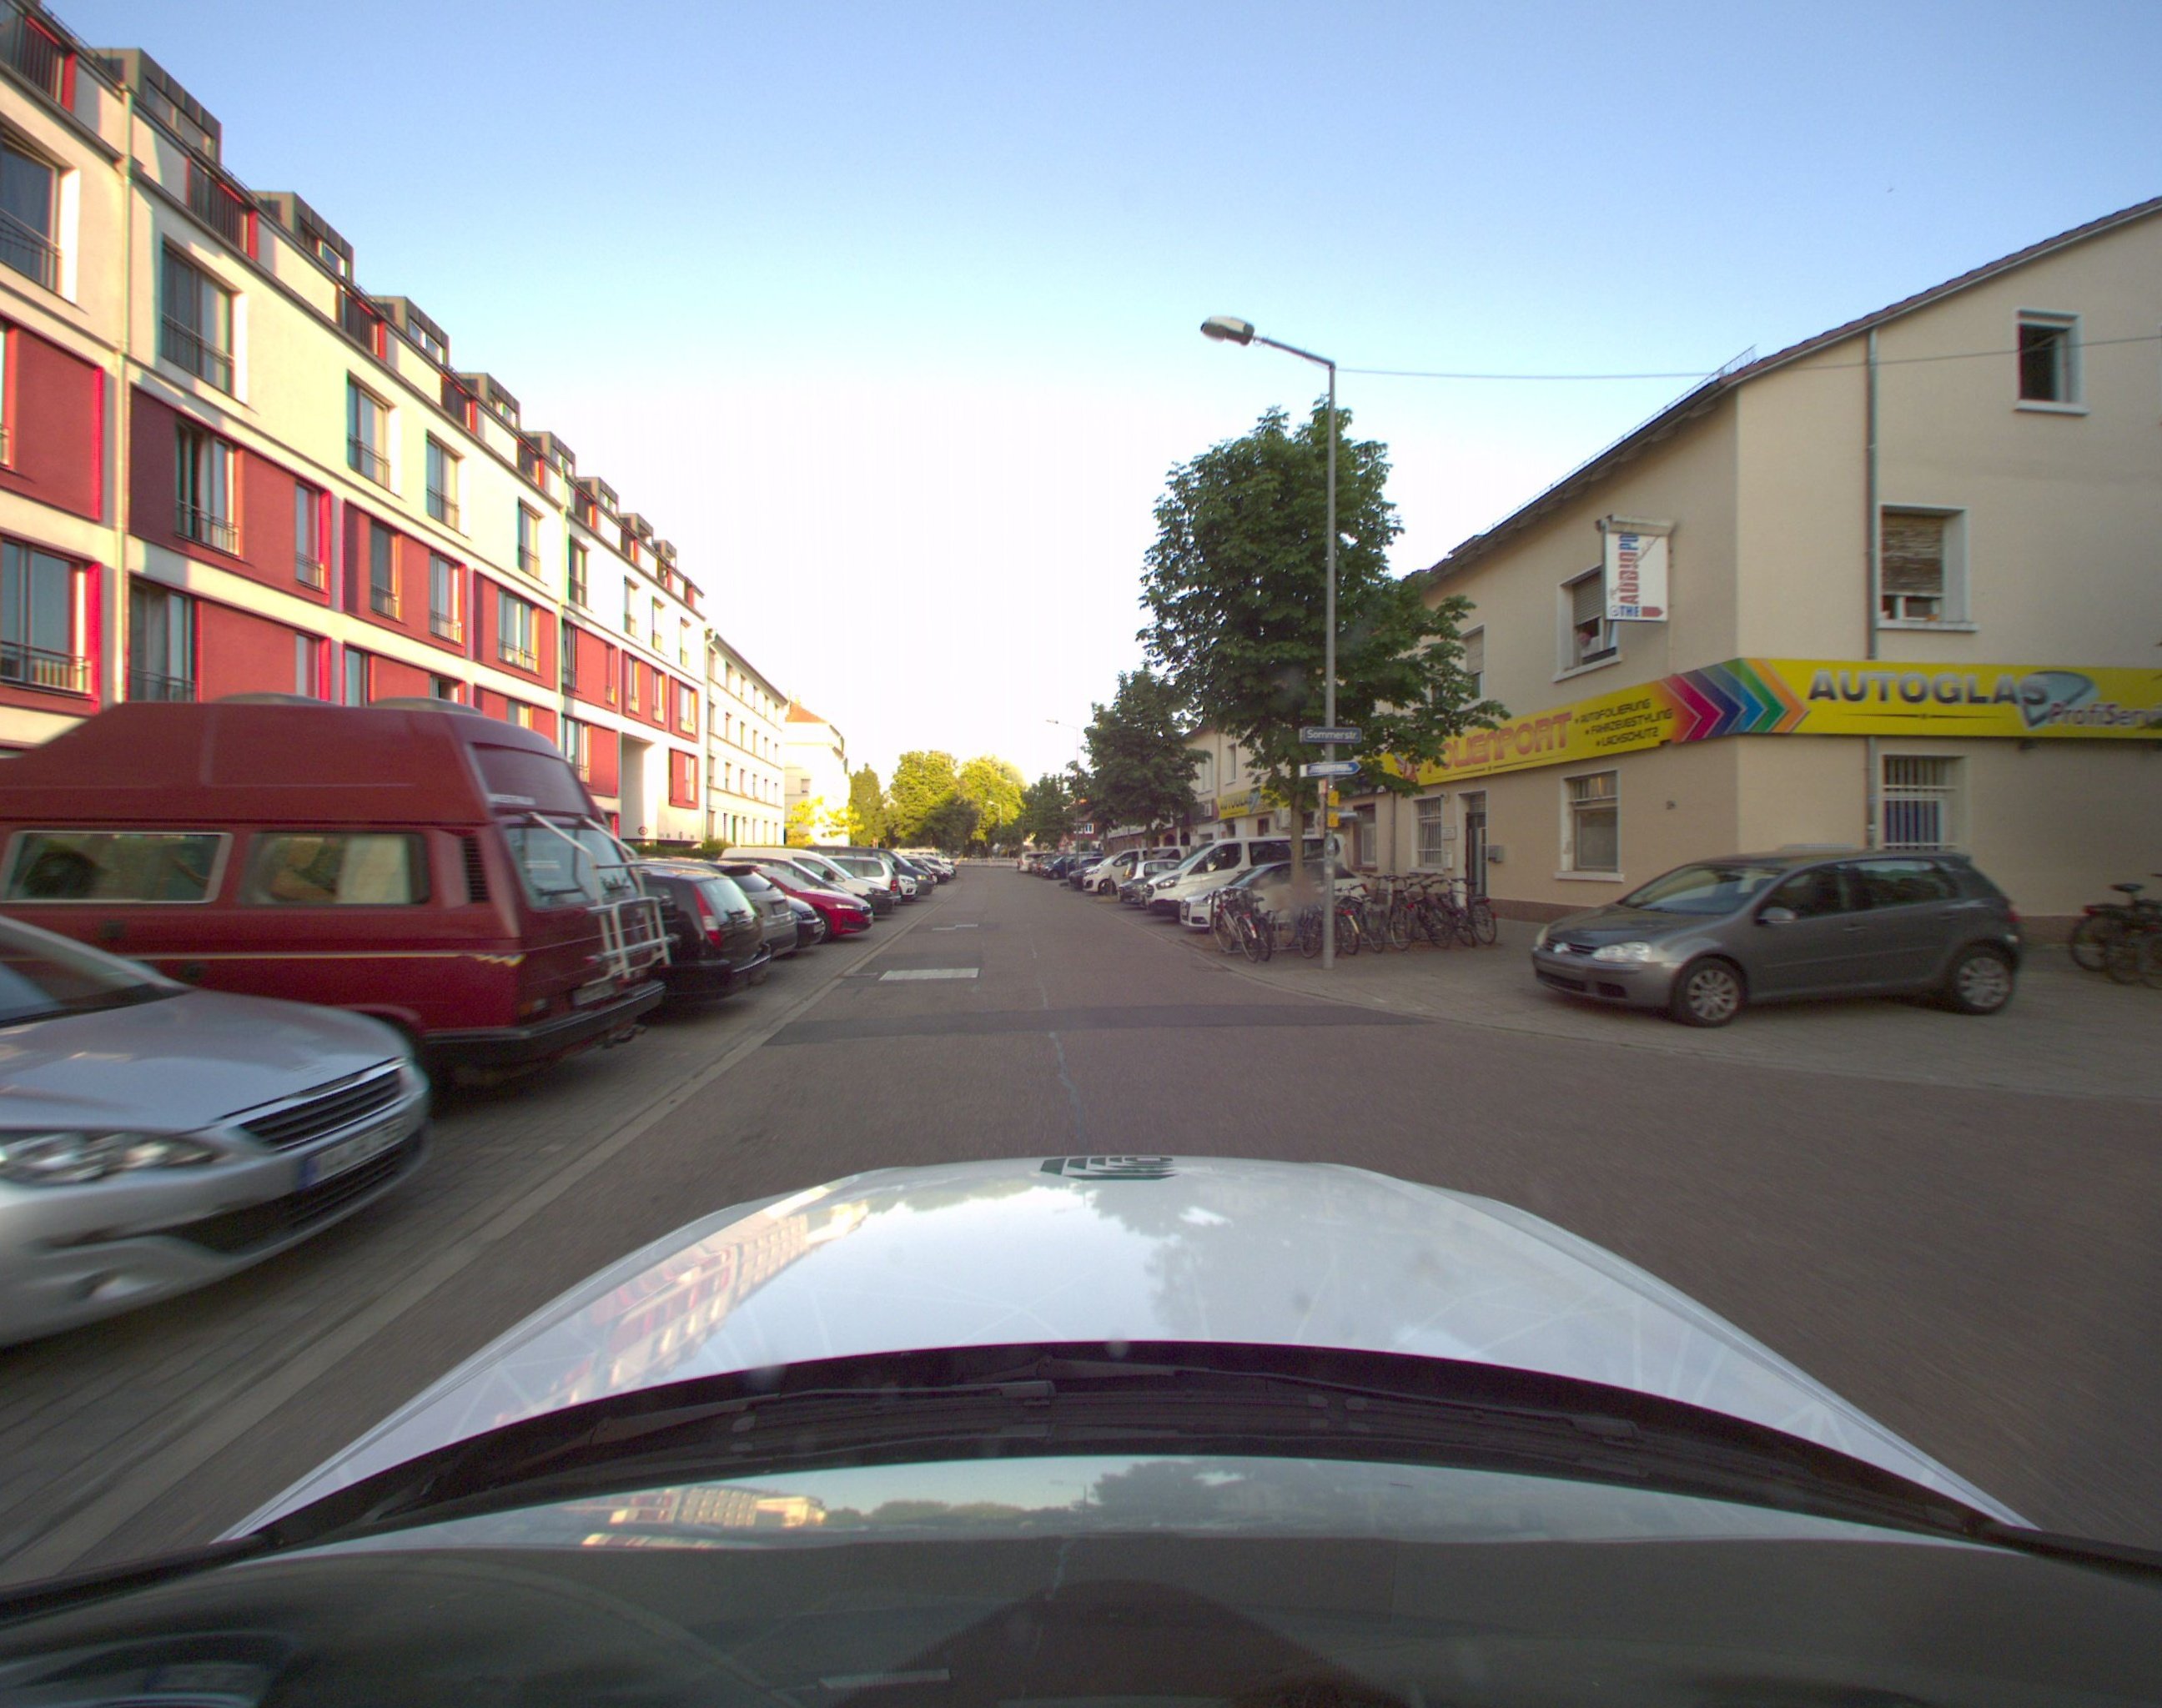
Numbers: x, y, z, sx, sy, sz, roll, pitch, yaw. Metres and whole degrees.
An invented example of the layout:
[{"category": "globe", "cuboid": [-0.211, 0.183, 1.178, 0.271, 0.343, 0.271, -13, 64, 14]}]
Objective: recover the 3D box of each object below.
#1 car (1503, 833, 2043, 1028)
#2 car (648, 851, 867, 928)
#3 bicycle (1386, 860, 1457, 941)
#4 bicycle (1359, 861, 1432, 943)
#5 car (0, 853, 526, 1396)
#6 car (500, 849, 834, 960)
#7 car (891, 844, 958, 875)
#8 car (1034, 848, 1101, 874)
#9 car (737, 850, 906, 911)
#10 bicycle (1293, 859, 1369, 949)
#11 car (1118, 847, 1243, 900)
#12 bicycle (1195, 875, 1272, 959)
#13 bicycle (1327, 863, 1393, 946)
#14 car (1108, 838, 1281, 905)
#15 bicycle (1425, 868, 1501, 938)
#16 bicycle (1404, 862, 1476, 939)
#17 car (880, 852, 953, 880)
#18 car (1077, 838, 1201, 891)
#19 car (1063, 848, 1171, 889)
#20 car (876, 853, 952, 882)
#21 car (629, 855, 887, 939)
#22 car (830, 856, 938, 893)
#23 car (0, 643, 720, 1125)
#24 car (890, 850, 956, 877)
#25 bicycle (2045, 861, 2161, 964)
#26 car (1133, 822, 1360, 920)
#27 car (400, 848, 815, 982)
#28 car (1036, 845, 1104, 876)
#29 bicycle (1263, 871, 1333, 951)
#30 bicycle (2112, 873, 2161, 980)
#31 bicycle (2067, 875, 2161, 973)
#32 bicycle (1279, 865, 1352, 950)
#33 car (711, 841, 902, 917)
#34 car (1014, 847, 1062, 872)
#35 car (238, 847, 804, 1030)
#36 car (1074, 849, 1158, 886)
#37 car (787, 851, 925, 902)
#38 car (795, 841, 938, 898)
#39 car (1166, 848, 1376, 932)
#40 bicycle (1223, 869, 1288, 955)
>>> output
[{"category": "car", "cuboid": [6.621, 0.629, 8.054, 4.044, 1.514, 1.753, -2, 2, -5]}, {"category": "car", "cuboid": [-7.164, 0.761, 18.448, 4.206, 1.616, 1.995, 0, 0, -8]}, {"category": "bicycle", "cuboid": [5.398, 0.701, 12.984, 0.352, 1.200, 1.478, -2, 0, -5]}, {"category": "bicycle", "cuboid": [4.971, 0.726, 12.950, 0.444, 1.200, 1.478, -2, 0, -5]}, {"category": "car", "cuboid": [-4.961, 0.727, 2.825, 4.614, 1.460, 1.875, 0, 0, -9]}, {"category": "car", "cuboid": [-6.221, 0.723, 12.761, 4.206, 1.575, 1.995, 0, 0, -8]}, {"category": "car", "cuboid": [-11.187, 0.403, 58.496, 4.527, 2.134, 1.996, 0, 0, -6]}, {"category": "car", "cuboid": [-1.059, 0.510, 62.934, 4.945, 1.694, 1.842, -3, 0, -11]}, {"category": "car", "cuboid": [-7.325, 0.729, 23.358, 4.251, 1.660, 1.996, 0, 0, -6]}, {"category": "bicycle", "cuboid": [3.961, 0.739, 13.036, 0.385, 1.304, 2.014, -2, 0, -5]}, {"category": "car", "cuboid": [3.344, 0.646, 27.915, 3.905, 1.526, 1.936, -3, 0, -5]}, {"category": "bicycle", "cuboid": [2.321, 0.922, 12.652, 0.438, 1.130, 2.010, -2, 0, -11]}, {"category": "bicycle", "cuboid": [4.394, 0.764, 12.923, 0.385, 1.200, 1.478, -2, 0, -5]}, {"category": "car", "cuboid": [3.431, 0.510, 25.267, 4.936, 1.742, 2.046, -3, 0, -5]}, {"category": "bicycle", "cuboid": [6.150, 0.759, 13.187, 0.387, 1.017, 1.478, -2, 0, -5]}, {"category": "bicycle", "cuboid": [5.750, 0.710, 13.101, 0.352, 1.143, 1.478, -2, 0, -5]}, {"category": "car", "cuboid": [-10.293, 0.723, 51.152, 4.251, 1.714, 1.996, 0, 0, -6]}, {"category": "car", "cuboid": [2.431, 0.438, 35.033, 4.940, 1.958, 2.044, -3, 0, -8]}, {"category": "car", "cuboid": [1.715, 0.666, 39.917, 4.940, 1.689, 2.072, -3, 0, -8]}, {"category": "car", "cuboid": [-9.868, 0.794, 48.445, 4.252, 1.622, 1.995, 0, 0, -7]}, {"category": "car", "cuboid": [-5.996, 0.783, 15.575, 4.202, 1.490, 1.846, 0, 0, -5]}, {"category": "car", "cuboid": [-8.357, 0.856, 34.889, 4.251, 1.505, 1.996, 0, 0, -6]}, {"category": "car", "cuboid": [-5.117, 0.165, 5.424, 4.503, 2.584, 1.997, 0, 0, -4]}, {"category": "car", "cuboid": [-10.793, 0.649, 55.889, 4.251, 1.749, 1.996, 0, 0, -6]}, {"category": "bicycle", "cuboid": [12.215, 0.660, 9.417, 1.857, 1.149, 0.343, 0, 2, -5]}, {"category": "car", "cuboid": [3.937, 0.378, 19.973, 4.982, 1.983, 2.216, -3, 0, -6]}, {"category": "car", "cuboid": [-5.814, 0.716, 10.411, 4.195, 1.538, 1.842, 0, 0, 0]}, {"category": "car", "cuboid": [-0.771, 0.468, 57.202, 4.480, 1.911, 1.682, -3, 0, -11]}, {"category": "bicycle", "cuboid": [3.421, 0.864, 12.985, 0.385, 1.114, 2.014, -2, 0, -5]}, {"category": "bicycle", "cuboid": [11.843, 0.741, 8.577, 1.729, 1.070, 0.343, 0, 2, -7]}, {"category": "bicycle", "cuboid": [11.712, 0.752, 8.913, 1.601, 1.019, 0.343, 0, 2, -7]}, {"category": "bicycle", "cuboid": [3.704, 0.801, 13.000, 0.385, 1.200, 2.014, -2, 0, -5]}, {"category": "car", "cuboid": [-6.912, 0.620, 20.920, 4.251, 1.836, 1.996, 0, 0, -6]}, {"category": "car", "cuboid": [-3.828, 0.481, 72.535, 3.969, 1.911, 2.042, -3, 0, -11]}, {"category": "car", "cuboid": [-5.114, 0.725, 8.033, 4.206, 1.538, 1.786, 0, 0, -8]}, {"category": "car", "cuboid": [1.882, 0.728, 44.857, 4.313, 1.804, 1.806, -3, 0, -8]}, {"category": "car", "cuboid": [-7.549, 0.750, 27.705, 4.251, 1.652, 1.884, 0, 0, -6]}, {"category": "car", "cuboid": [-7.862, 0.555, 30.237, 4.844, 2.021, 1.903, 0, 0, -6]}, {"category": "car", "cuboid": [3.935, 0.707, 17.176, 3.916, 1.451, 1.763, -3, 0, -8]}, {"category": "bicycle", "cuboid": [2.717, 0.864, 12.880, 0.385, 1.200, 2.014, -2, 0, -5]}]
